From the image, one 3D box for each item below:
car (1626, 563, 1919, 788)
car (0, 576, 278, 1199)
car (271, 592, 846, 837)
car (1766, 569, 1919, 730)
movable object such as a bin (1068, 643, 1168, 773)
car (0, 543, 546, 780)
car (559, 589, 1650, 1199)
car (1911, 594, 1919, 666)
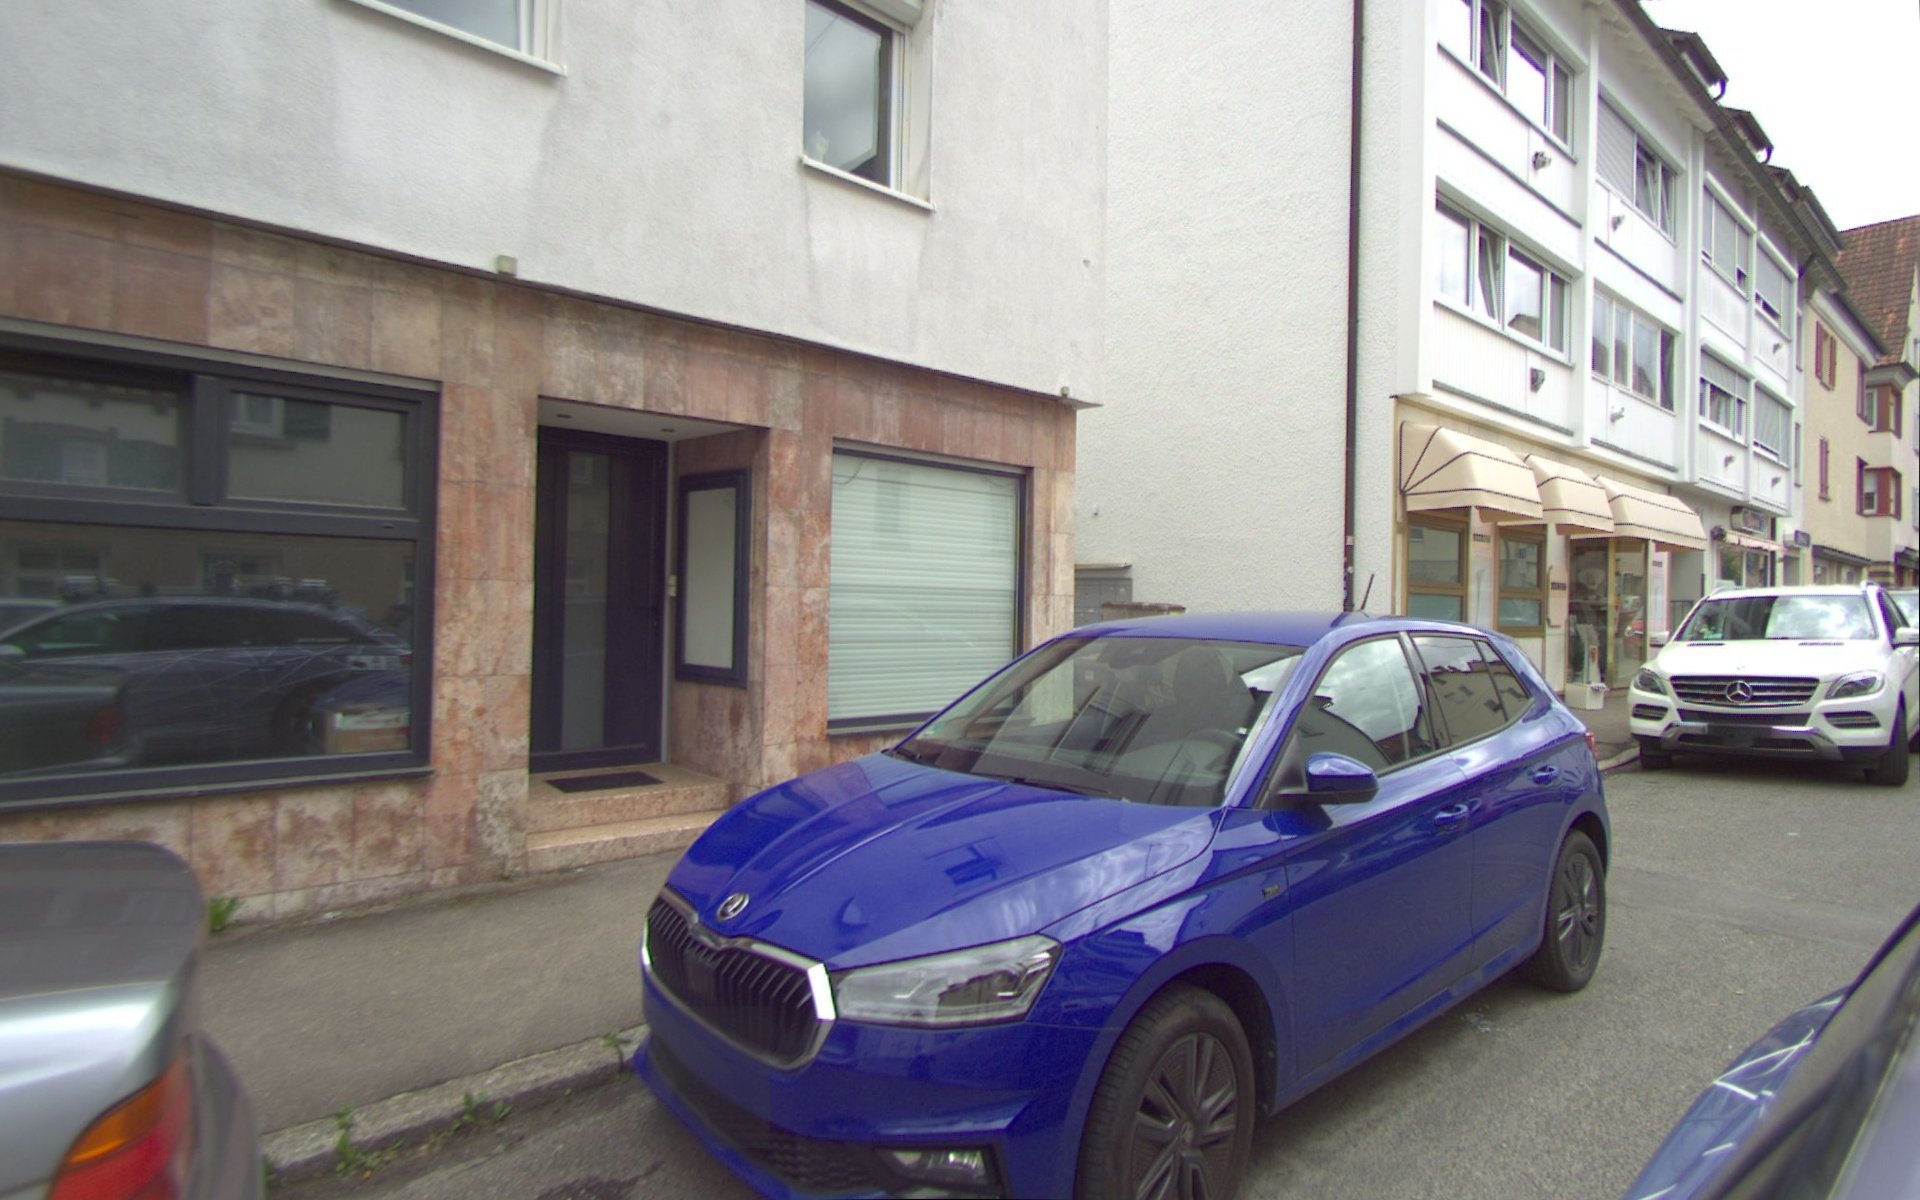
[{"bbox_3d":[8.358,0.554,9.946,4.416,1.727,1.899,-1,0,-41],"label":"car"},{"bbox_3d":[-3.009,0.752,0.283,4.499,1.435,1.788,-1,-2,-42],"label":"car"},{"bbox_3d":[-3.023,0.696,8.014,3.939,1.450,1.647,-1,0,-38],"label":"car"},{"bbox_3d":[12.134,0.531,13.100,4.268,1.812,1.899,-1,0,-41],"label":"car"},{"bbox_3d":[1.274,0.848,8.167,0.512,0.941,0.570,1,2,-40],"label":"movable object such as a bin"},{"bbox_3d":[-5.974,0.425,8.991,3.941,1.686,1.646,-1,0,-40],"label":"car"},{"bbox_3d":[0.832,0.713,3.614,3.860,1.450,1.754,-1,0,-41],"label":"car"},{"bbox_3d":[22.531,0.593,22.385,3.918,1.548,1.672,-1,-2,-40],"label":"car"}]
